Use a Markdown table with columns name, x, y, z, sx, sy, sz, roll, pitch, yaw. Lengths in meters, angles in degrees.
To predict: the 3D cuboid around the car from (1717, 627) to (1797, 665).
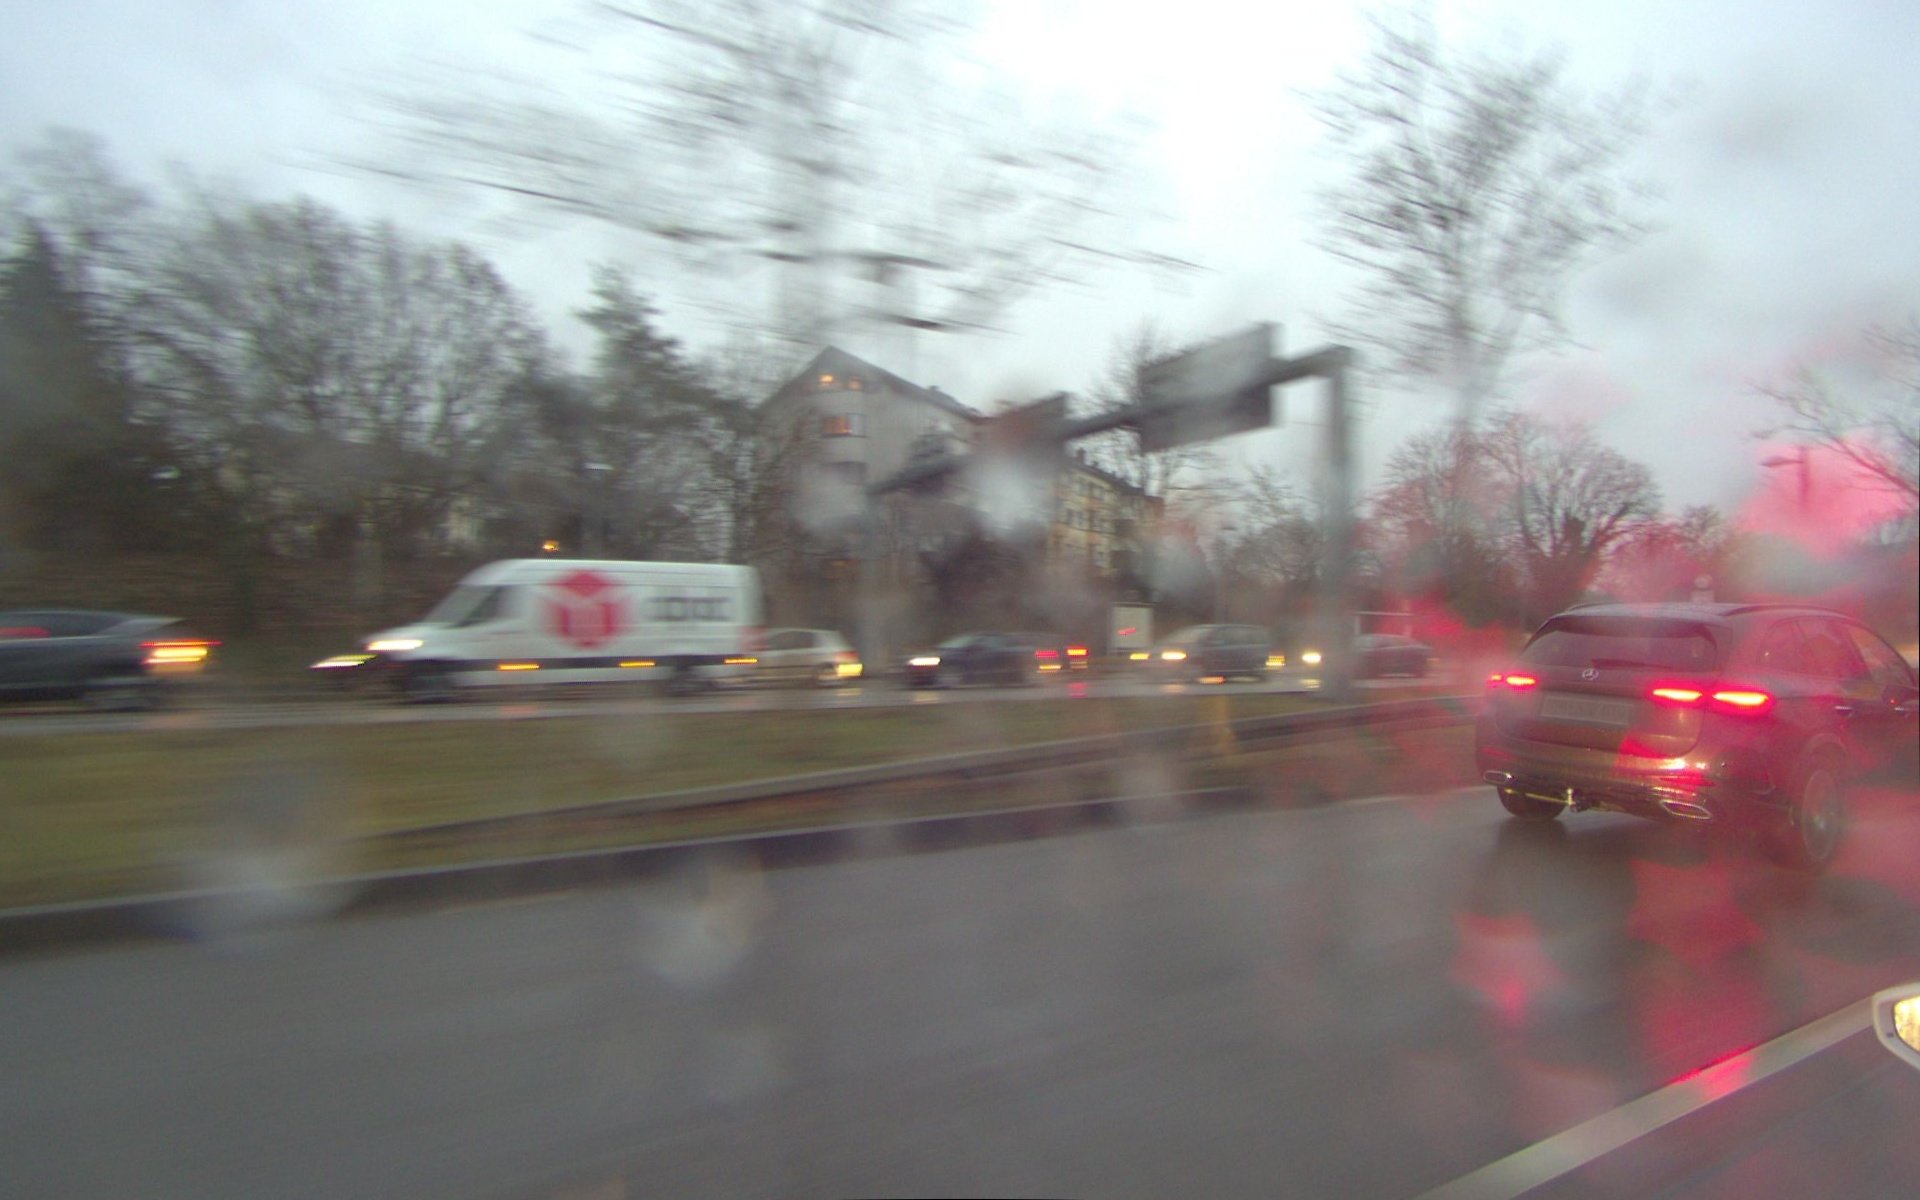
| name | x | y | z | sx | sy | sz | roll | pitch | yaw |
| --- | --- | --- | --- | --- | --- | --- | --- | --- | --- |
| car | 36.488 | 2.086 | 45.983 | 3.535 | 1.648 | 1.775 | 2 | -1 | -32 |

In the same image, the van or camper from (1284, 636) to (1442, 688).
| name | x | y | z | sx | sy | sz | roll | pitch | yaw |
| --- | --- | --- | --- | --- | --- | --- | --- | --- | --- |
| van or camper | 12.610 | 1.919 | 31.331 | 5.099 | 1.465 | 1.895 | 2 | -1 | -31 |

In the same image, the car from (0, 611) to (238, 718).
| name | x | y | z | sx | sy | sz | roll | pitch | yaw |
| --- | --- | --- | --- | --- | --- | --- | --- | --- | --- |
| car | -14.062 | 0.968 | 15.605 | 4.393 | 1.557 | 1.762 | 1 | -2 | -30 |

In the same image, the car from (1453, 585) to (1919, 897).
| name | x | y | z | sx | sy | sz | roll | pitch | yaw |
| --- | --- | --- | --- | --- | --- | --- | --- | --- | --- |
| car | 5.744 | 0.835 | 7.335 | 4.417 | 1.669 | 1.813 | 2 | -2 | -32 |

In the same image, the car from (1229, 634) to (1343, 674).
| name | x | y | z | sx | sy | sz | roll | pitch | yaw |
| --- | --- | --- | --- | --- | --- | --- | --- | --- | --- |
| car | 13.048 | 2.152 | 40.159 | 4.391 | 1.465 | 1.895 | 2 | -1 | -31 |

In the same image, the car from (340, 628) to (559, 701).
| name | x | y | z | sx | sy | sz | roll | pitch | yaw |
| --- | --- | --- | --- | --- | --- | --- | --- | --- | --- |
| car | -10.747 | 1.323 | 21.249 | 3.955 | 1.416 | 1.747 | 2 | -2 | -31 |

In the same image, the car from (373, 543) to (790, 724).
| name | x | y | z | sx | sy | sz | roll | pitch | yaw |
| --- | --- | --- | --- | --- | --- | --- | --- | --- | --- |
| car | -7.224 | 0.696 | 19.720 | 7.259 | 3.044 | 2.281 | 3 | -1 | -30 |

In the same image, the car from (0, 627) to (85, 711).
| name | x | y | z | sx | sy | sz | roll | pitch | yaw |
| --- | --- | --- | --- | --- | --- | --- | --- | --- | --- |
| car | -17.910 | 1.167 | 17.316 | 3.955 | 1.416 | 1.747 | 2 | -2 | -31 |

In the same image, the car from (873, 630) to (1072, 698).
| name | x | y | z | sx | sy | sz | roll | pitch | yaw |
| --- | --- | --- | --- | --- | --- | --- | --- | --- | --- |
| car | 0.306 | 1.508 | 24.140 | 4.397 | 1.465 | 1.898 | 2 | -1 | -26 |

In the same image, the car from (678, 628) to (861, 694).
| name | x | y | z | sx | sy | sz | roll | pitch | yaw |
| --- | --- | --- | --- | --- | --- | --- | --- | --- | --- |
| car | -4.688 | 1.483 | 24.855 | 4.042 | 1.465 | 1.895 | 2 | -1 | -31 |

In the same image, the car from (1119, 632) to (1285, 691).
| name | x | y | z | sx | sy | sz | roll | pitch | yaw |
| --- | --- | --- | --- | --- | --- | --- | --- | --- | --- |
| car | 6.734 | 1.680 | 27.826 | 4.391 | 1.465 | 1.895 | 2 | -1 | -31 |
